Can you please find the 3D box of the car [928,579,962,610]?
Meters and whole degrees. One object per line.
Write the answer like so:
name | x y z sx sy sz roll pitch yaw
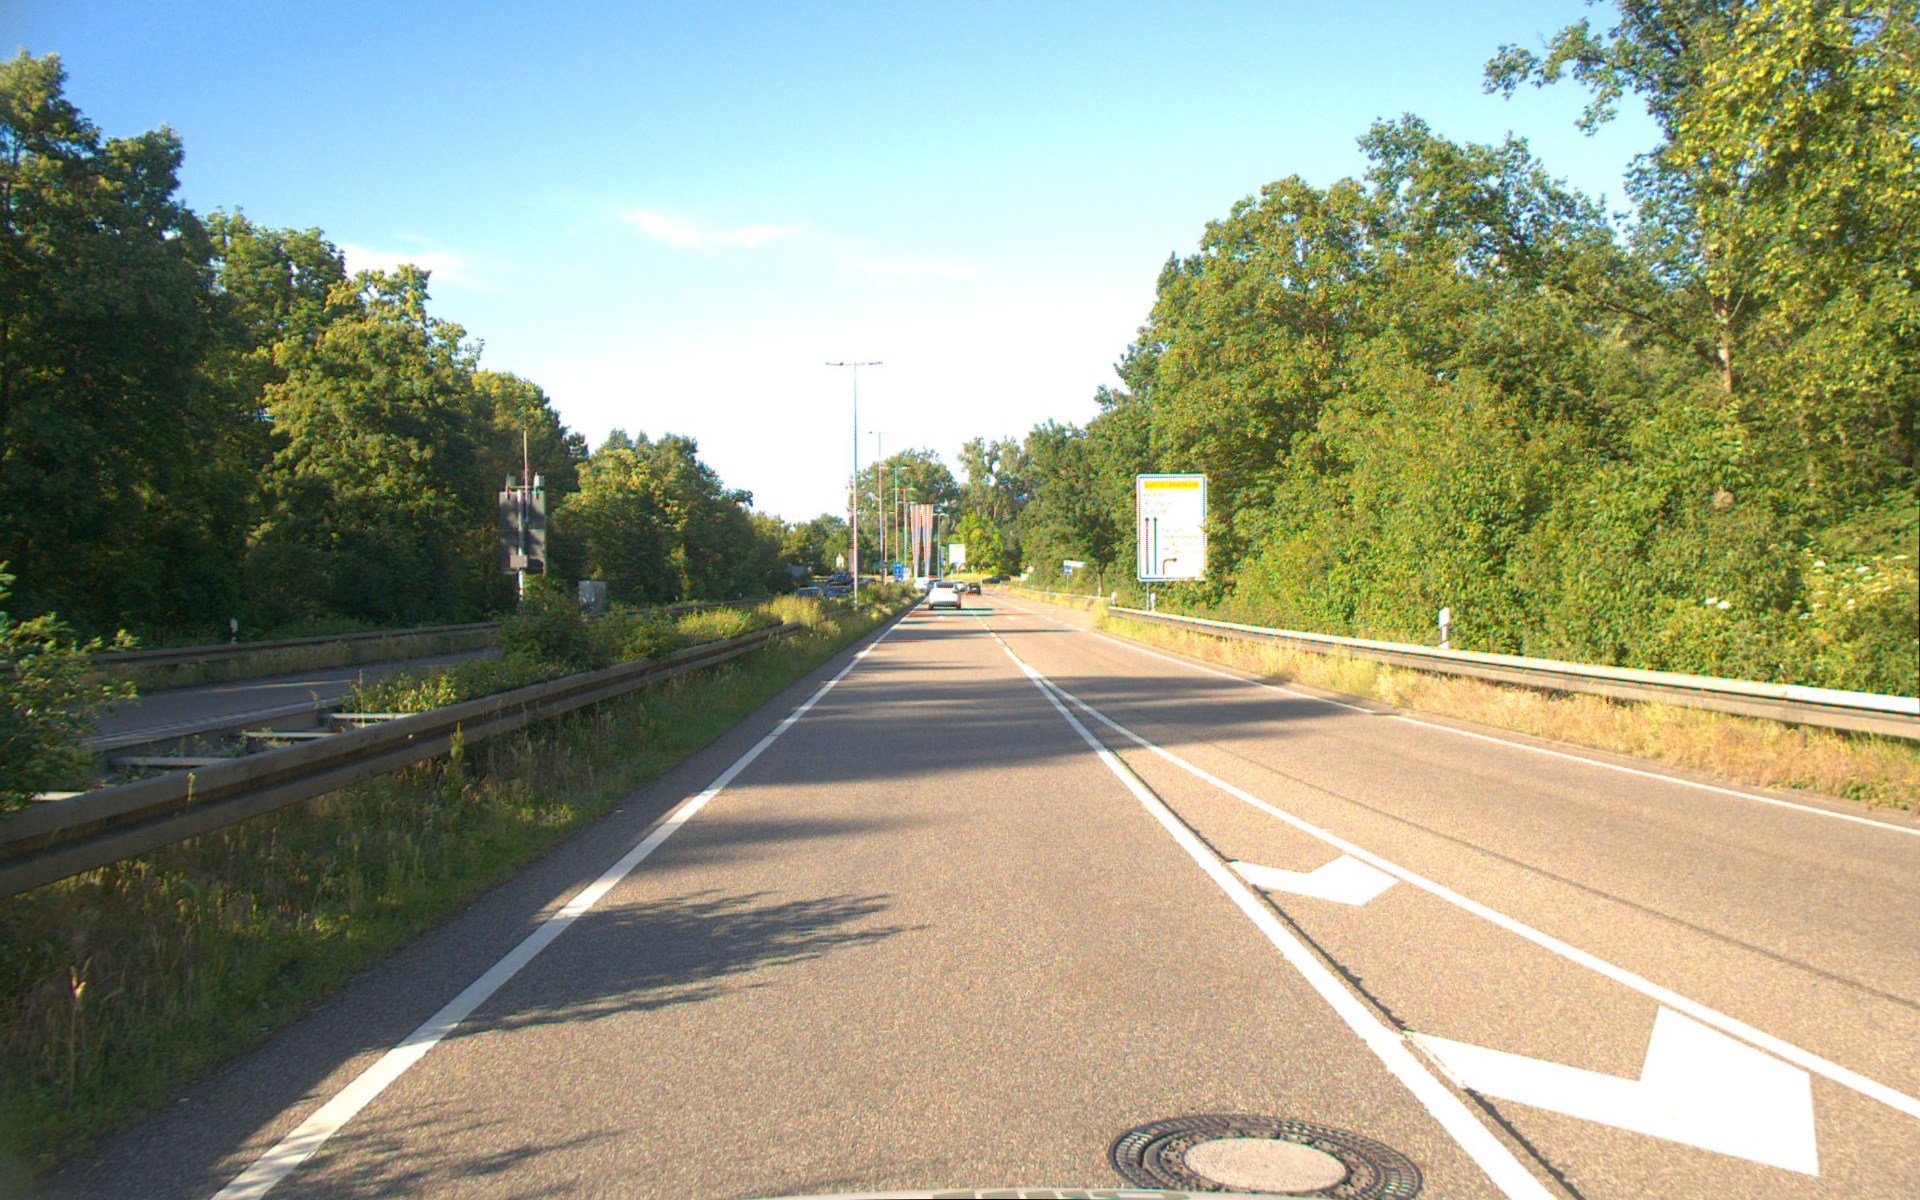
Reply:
car | -0.899 -0.341 97.992 1.953 1.668 4.128 -2 2 -1

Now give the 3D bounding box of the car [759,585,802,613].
car | -9.681 -0.069 89.403 1.744 1.427 4.553 -1 1 1

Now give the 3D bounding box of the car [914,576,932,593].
car | -4.838 -2.014 215.018 1.955 2.049 3.994 1 0 -6

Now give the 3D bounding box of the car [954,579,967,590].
car | 0.083 -1.967 206.864 1.591 1.303 2.986 2 0 -1

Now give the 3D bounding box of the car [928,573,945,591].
car | -2.828 -2.145 196.227 1.953 1.912 4.248 -2 2 -2

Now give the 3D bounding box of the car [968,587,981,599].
car | 1.671 -0.807 187.825 1.360 1.303 2.986 2 0 -1

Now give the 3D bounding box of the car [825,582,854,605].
car | -8.501 -0.452 116.626 1.585 1.557 4.609 -1 1 1
